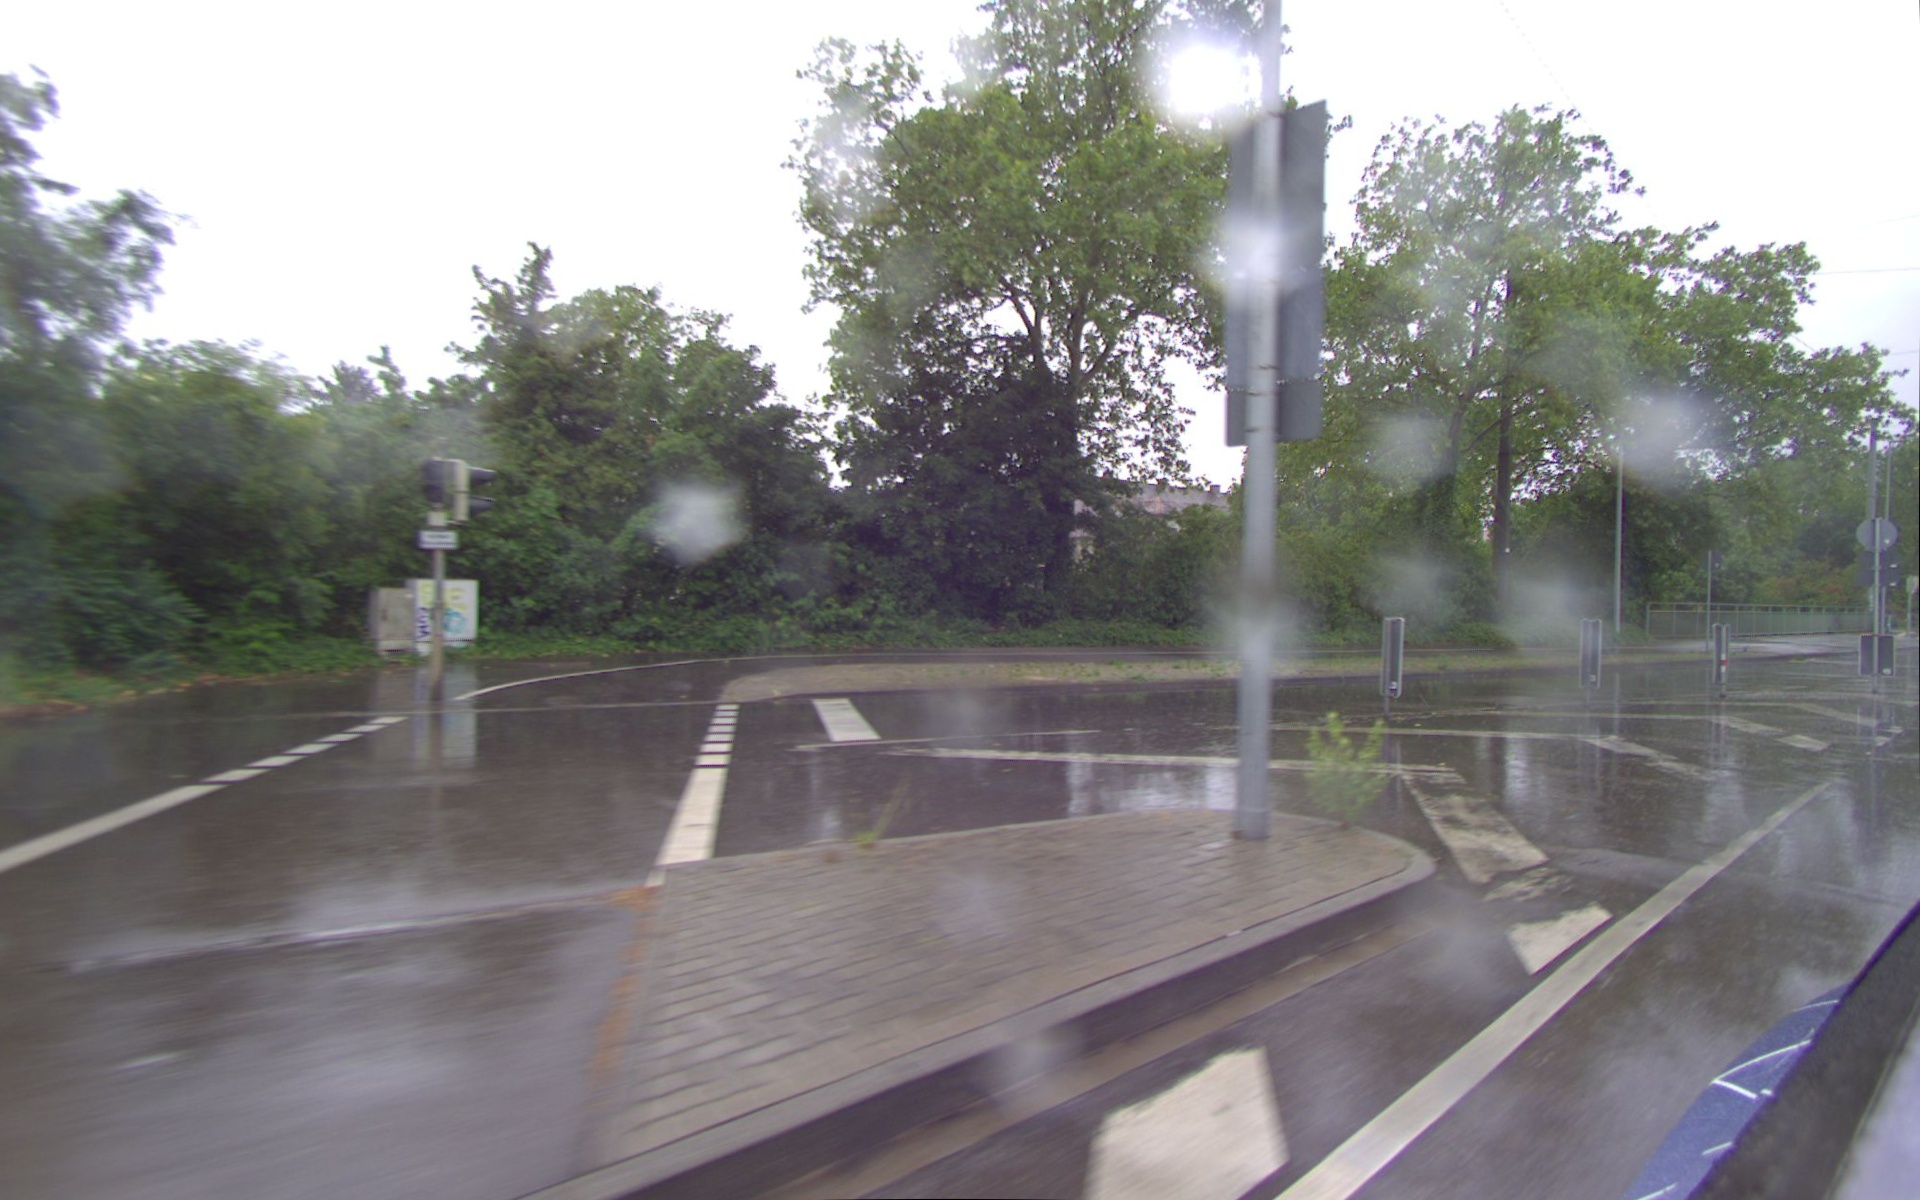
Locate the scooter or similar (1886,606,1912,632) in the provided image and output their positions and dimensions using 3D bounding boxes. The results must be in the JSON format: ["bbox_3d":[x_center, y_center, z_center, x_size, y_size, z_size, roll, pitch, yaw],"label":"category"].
[{"bbox_3d":[50.223,1.012,54.121,1.616,1.309,0.761,0,0,-37],"label":"scooter or similar"}]
